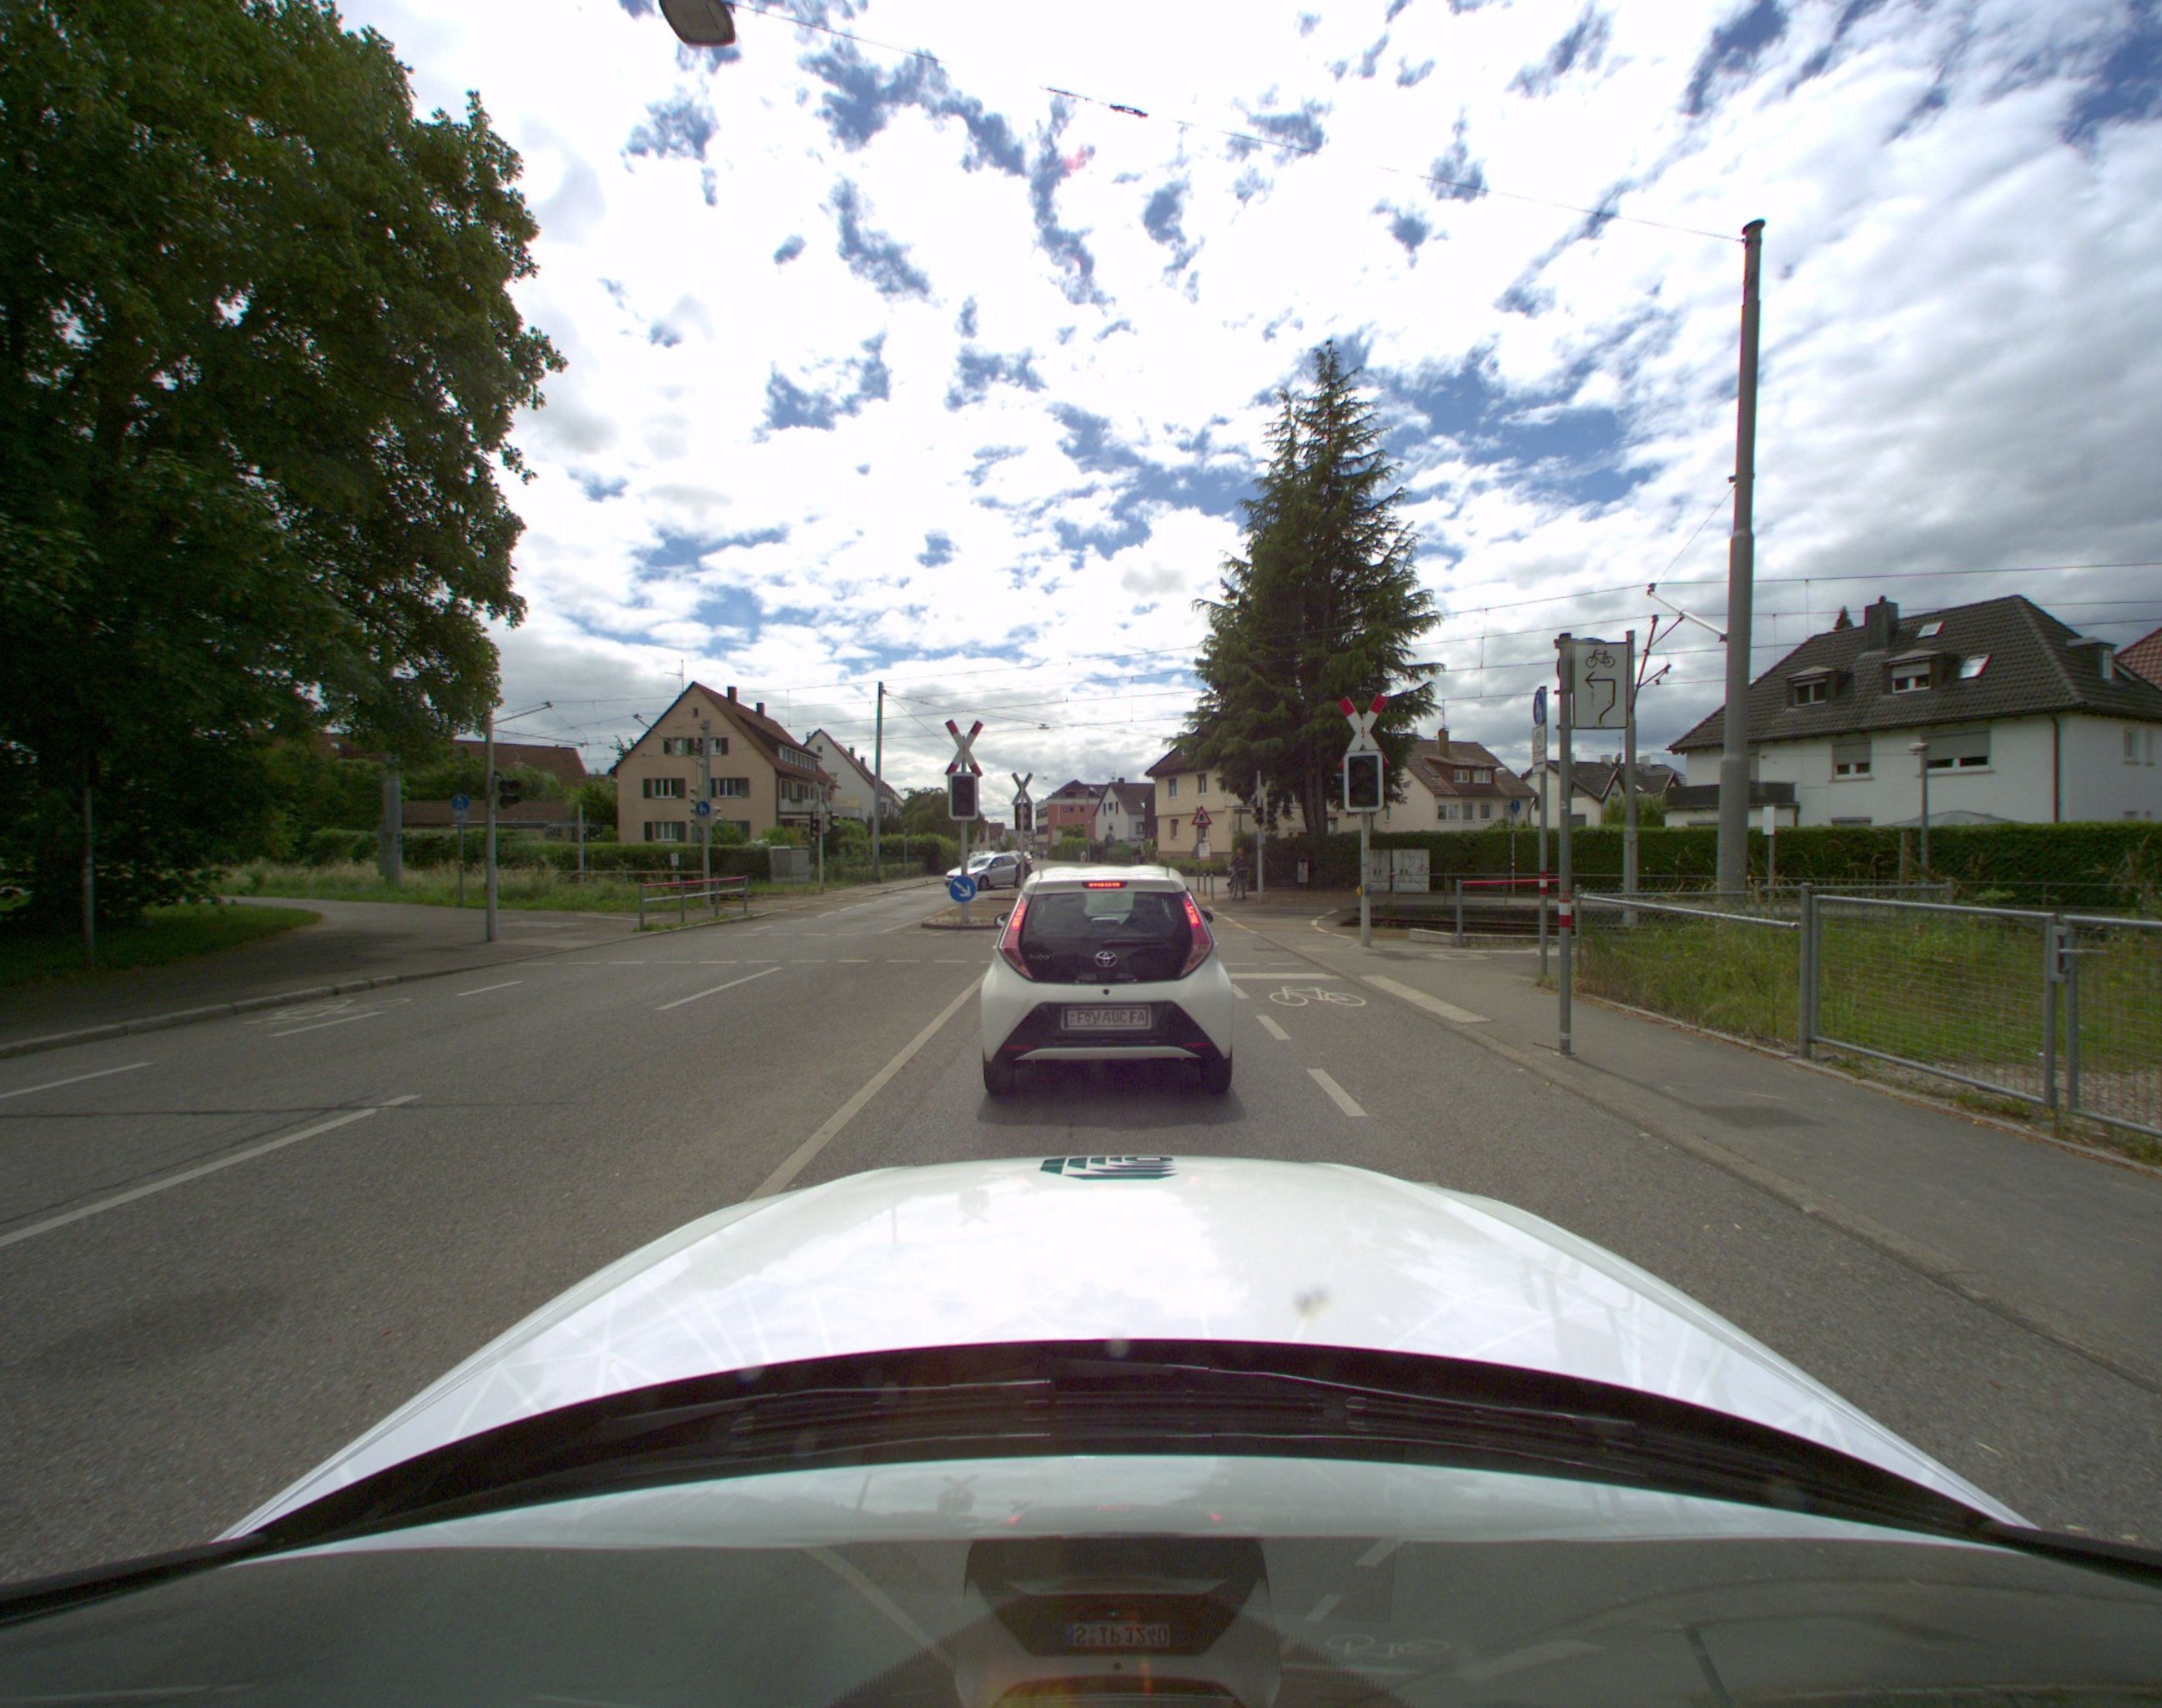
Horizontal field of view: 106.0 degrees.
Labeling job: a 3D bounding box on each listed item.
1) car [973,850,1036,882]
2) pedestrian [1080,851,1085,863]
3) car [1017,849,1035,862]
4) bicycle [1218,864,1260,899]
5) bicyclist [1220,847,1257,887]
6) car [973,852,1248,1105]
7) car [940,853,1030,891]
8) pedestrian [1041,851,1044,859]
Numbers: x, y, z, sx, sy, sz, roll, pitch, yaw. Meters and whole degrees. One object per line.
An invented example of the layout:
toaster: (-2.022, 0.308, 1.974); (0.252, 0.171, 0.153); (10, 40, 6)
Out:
car: (-3.796, 0.594, 40.828); (1.560, 1.510, 2.804); (0, -1, 44)
pedestrian: (0.177, 0.347, 101.818); (0.440, 1.437, 0.410); (0, 0, -38)
car: (-7.002, 0.183, 103.763); (1.775, 1.561, 4.155); (-1, 0, -10)
bicycle: (5.126, 0.873, 26.346); (0.923, 1.040, 1.925); (-2, 0, 23)
bicyclist: (5.078, 0.425, 26.259); (0.923, 1.247, 1.108); (-2, 0, 23)
car: (0.237, 0.761, 6.850); (1.615, 1.486, 4.001); (-1, -1, 2)
car: (-4.032, 0.735, 34.759); (1.672, 1.458, 4.095); (-2, 0, 29)
pedestrian: (-6.661, 0.206, 140.570); (0.413, 1.437, 0.436); (0, 0, -9)
